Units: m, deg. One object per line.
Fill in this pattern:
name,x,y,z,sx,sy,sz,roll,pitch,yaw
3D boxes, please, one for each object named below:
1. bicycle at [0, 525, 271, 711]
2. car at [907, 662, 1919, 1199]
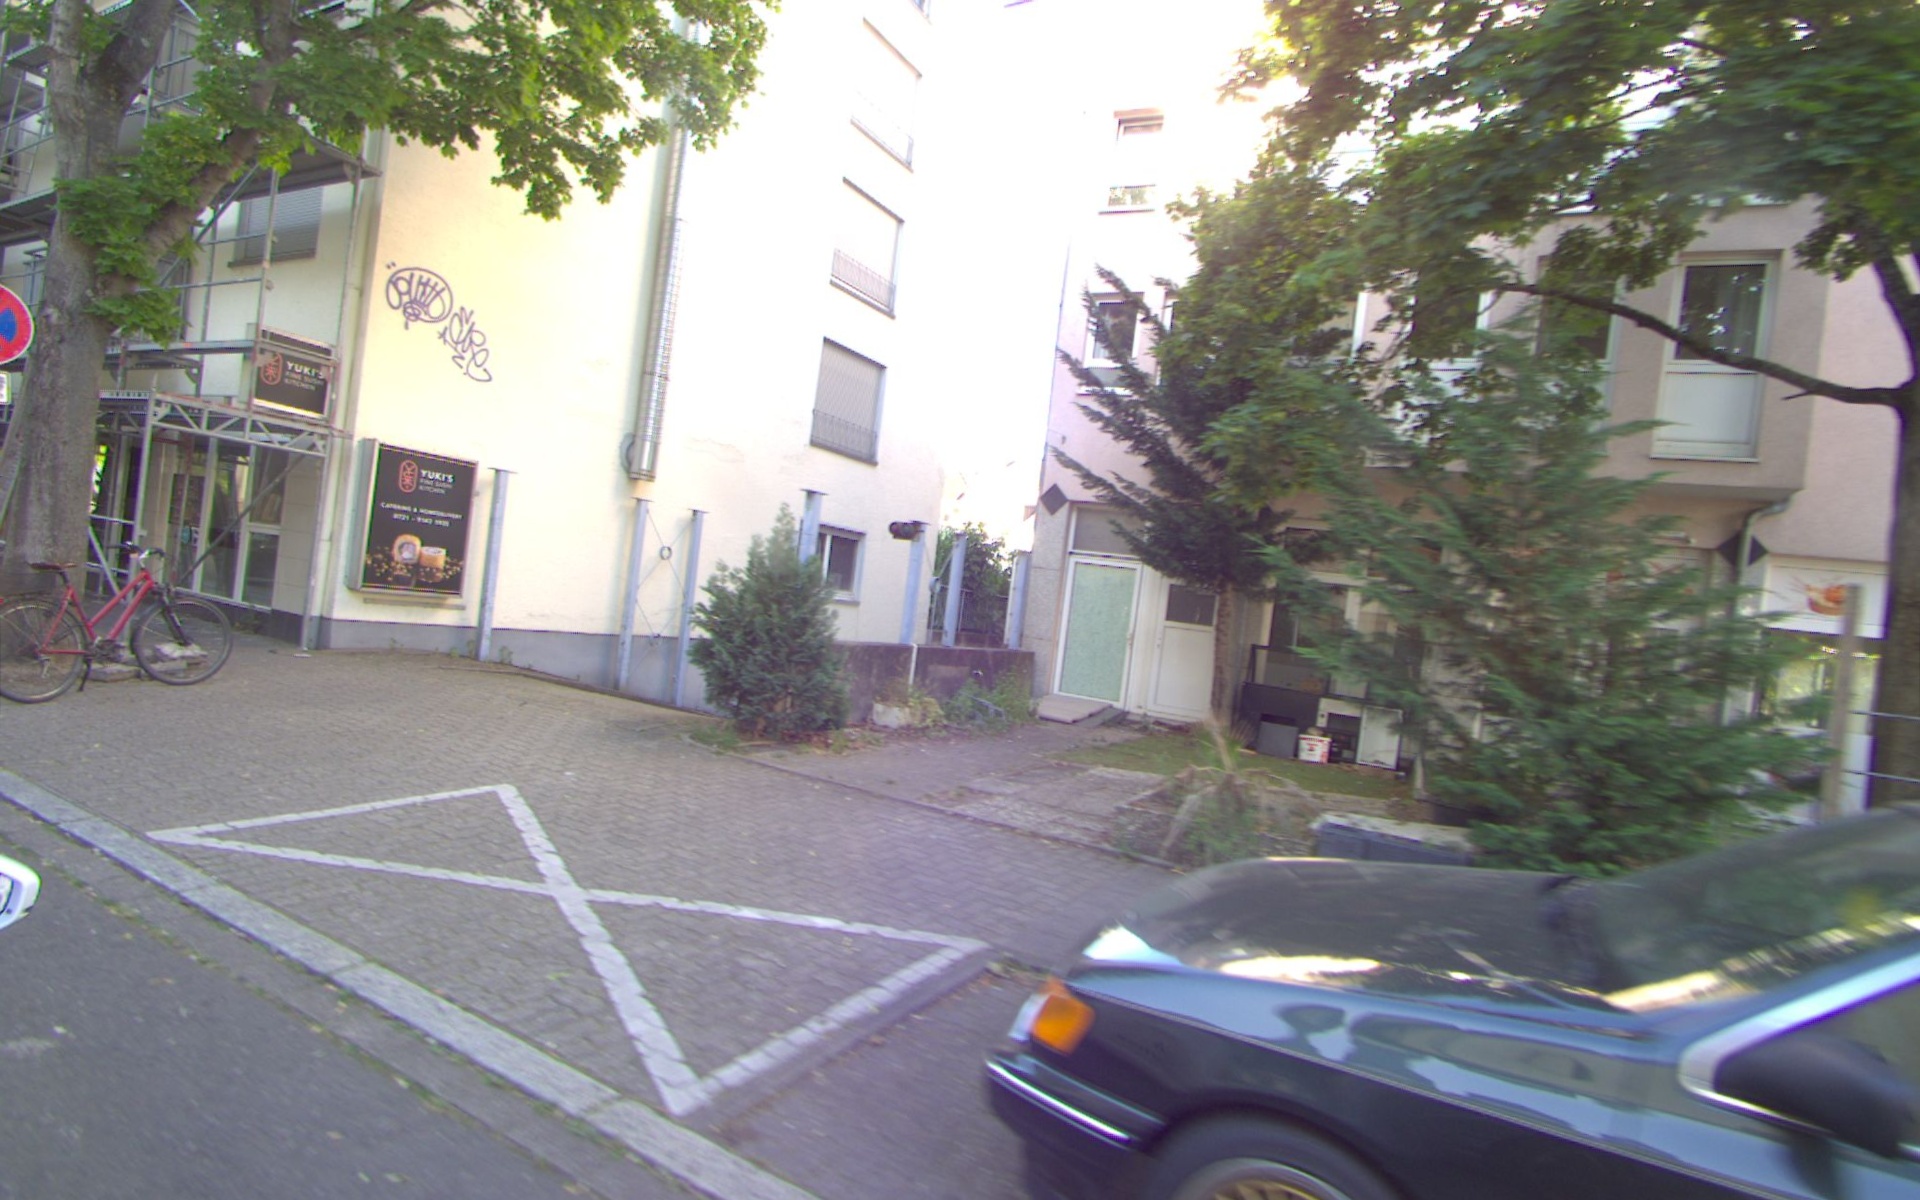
bicycle,-6.401,0.091,7.574,0.713,1.181,1.985,7,3,13
car,2.280,1.129,1.869,4.493,1.405,1.711,7,0,31
